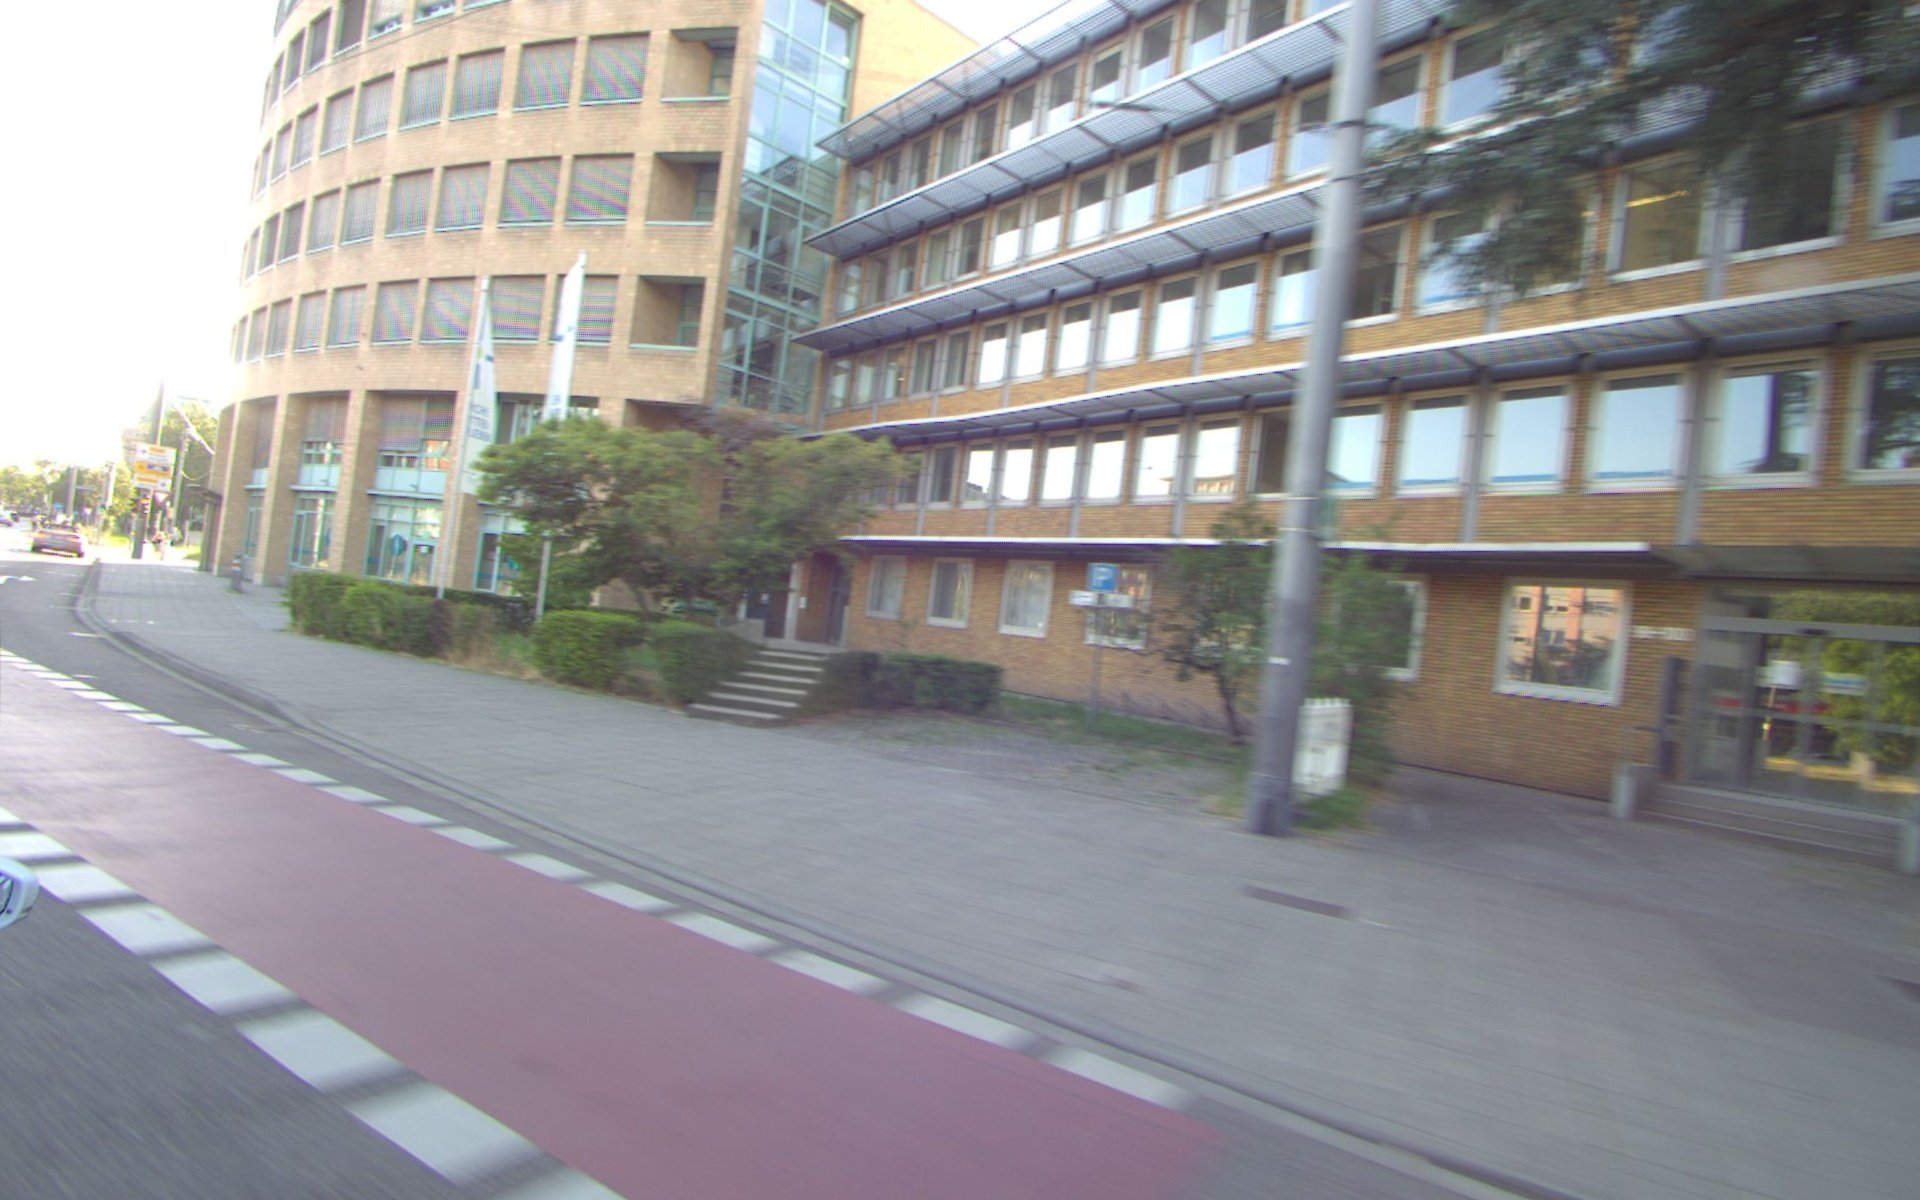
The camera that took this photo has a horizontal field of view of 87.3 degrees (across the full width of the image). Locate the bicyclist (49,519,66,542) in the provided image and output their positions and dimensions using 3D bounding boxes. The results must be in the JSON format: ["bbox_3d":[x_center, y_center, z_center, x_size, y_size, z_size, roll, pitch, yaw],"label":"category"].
[{"bbox_3d":[-67.290,-5.177,75.023,0.795,1.590,0.655,8,0,-43],"label":"bicyclist"}]

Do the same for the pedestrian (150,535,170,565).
[{"bbox_3d":[-45.469,-2.862,57.191,0.675,1.588,0.790,8,0,-43],"label":"pedestrian"}]

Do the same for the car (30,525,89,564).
[{"bbox_3d":[-41.156,-2.548,46.046,1.778,1.369,4.218,10,-3,-41],"label":"car"}]

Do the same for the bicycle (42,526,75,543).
[{"bbox_3d":[-67.266,-4.902,75.079,1.724,0.981,0.602,10,-2,-42],"label":"bicycle"}]

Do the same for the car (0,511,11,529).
[{"bbox_3d":[-97.698,-8.231,102.178,1.790,1.585,3.949,8,-1,-44],"label":"car"}]

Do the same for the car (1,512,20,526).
[{"bbox_3d":[-137.124,-11.680,145.230,1.790,1.585,3.949,8,-1,-44],"label":"car"}]

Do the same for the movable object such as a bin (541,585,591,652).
[{"bbox_3d":[-9.664,0.439,24.685,0.961,1.455,1.338,8,0,-21],"label":"movable object such as a bin"}]

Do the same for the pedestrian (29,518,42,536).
[{"bbox_3d":[-83.890,-6.632,91.266,0.613,1.493,0.792,8,0,-36],"label":"pedestrian"}]

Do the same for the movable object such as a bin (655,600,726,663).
[{"bbox_3d":[-6.984,0.822,26.088,0.911,1.441,1.339,7,-1,42],"label":"movable object such as a bin"}]
